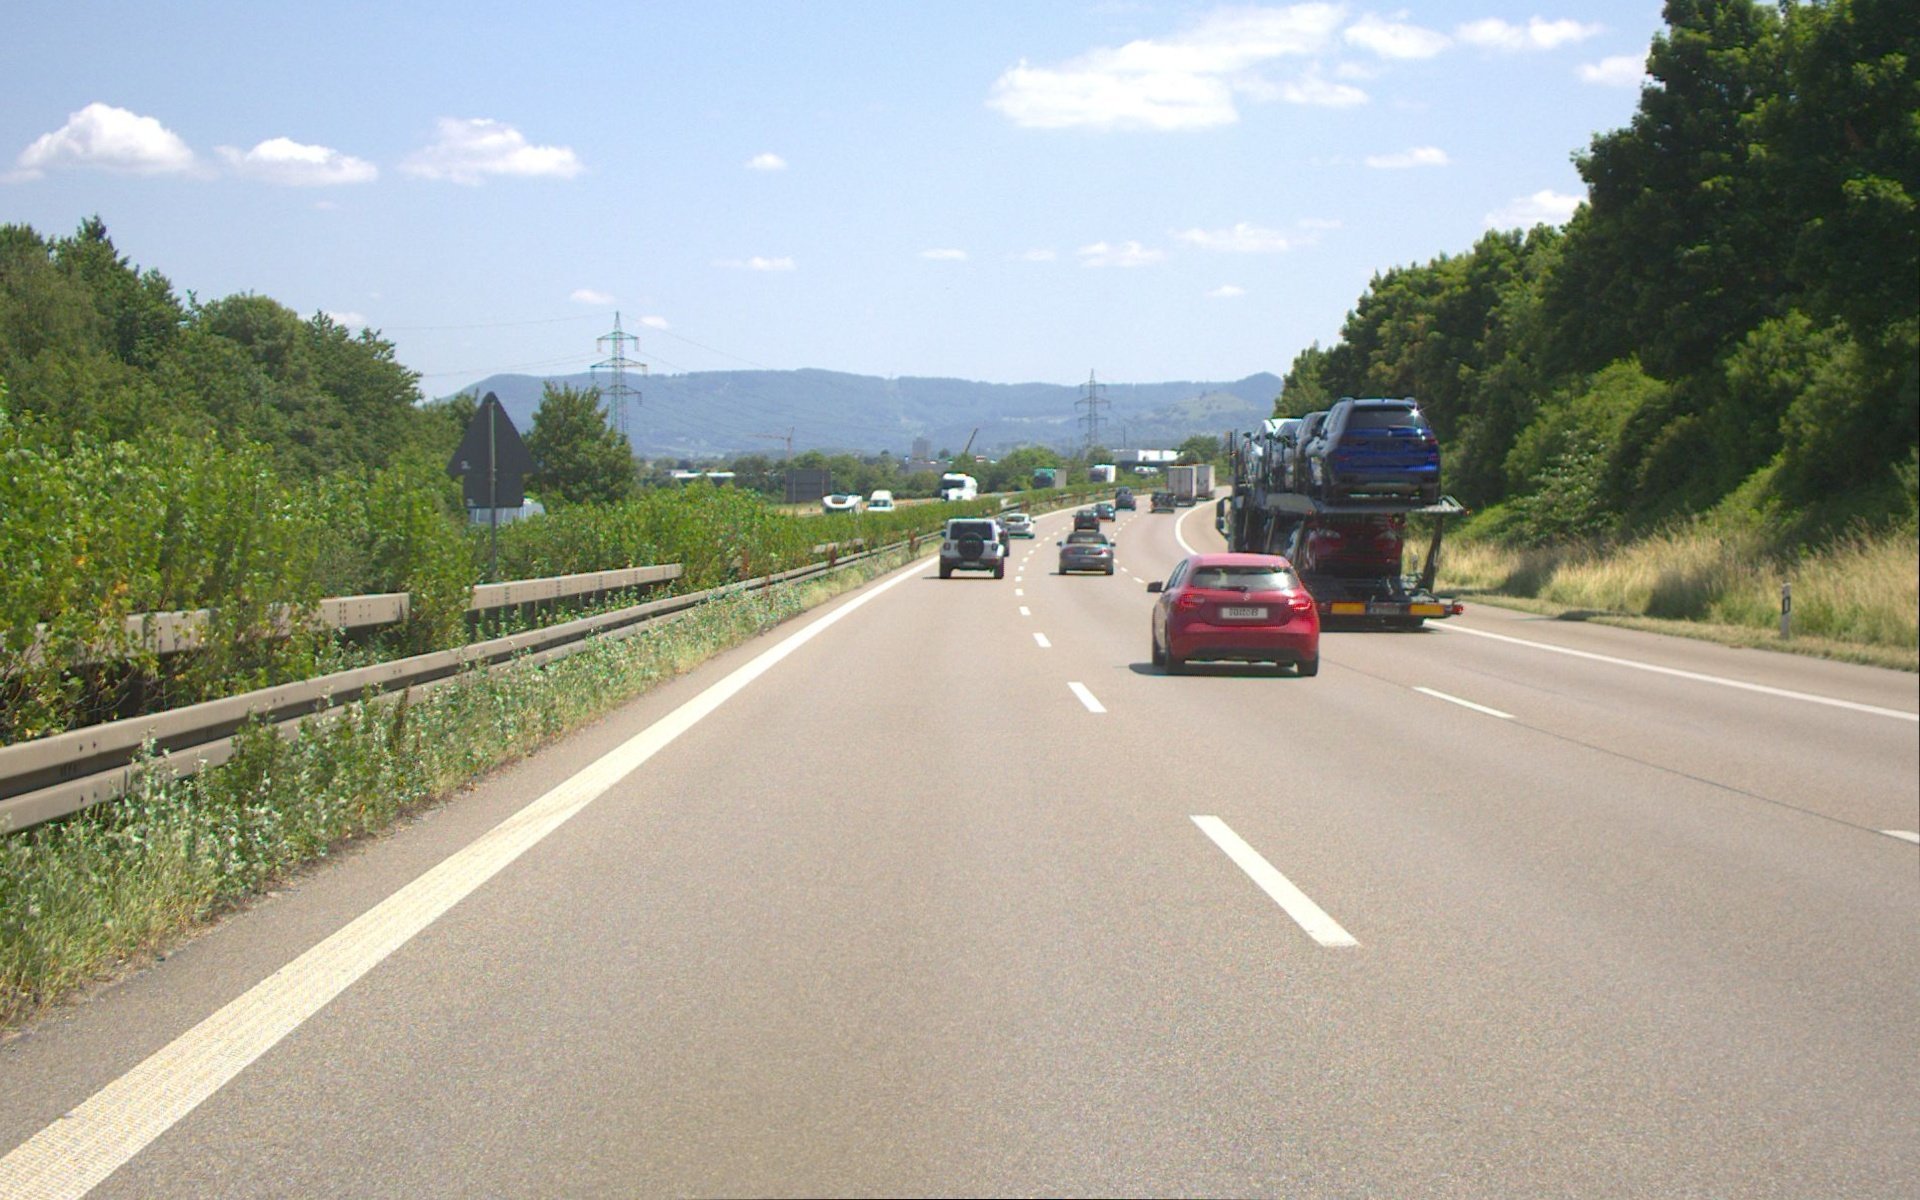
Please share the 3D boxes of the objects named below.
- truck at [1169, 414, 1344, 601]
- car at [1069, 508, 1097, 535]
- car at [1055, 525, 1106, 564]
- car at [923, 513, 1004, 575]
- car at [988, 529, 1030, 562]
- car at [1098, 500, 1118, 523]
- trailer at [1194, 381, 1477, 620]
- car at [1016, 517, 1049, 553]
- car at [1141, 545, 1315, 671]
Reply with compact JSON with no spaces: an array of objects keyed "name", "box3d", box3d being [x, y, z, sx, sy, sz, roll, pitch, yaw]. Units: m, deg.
[{"name":"truck","box3d":[6.355,-1.990,74.616,2.753,3.839,6.645,1,1,-3]},{"name":"car","box3d":[7.880,-5.036,219.777,1.636,1.699,3.401,1,1,4]},{"name":"car","box3d":[3.993,-1.845,113.992,1.452,1.263,3.539,1,1,-1]},{"name":"car","box3d":[0.086,-1.745,106.312,2.083,1.823,4.754,1,1,-5]},{"name":"car","box3d":[2.104,-2.321,146.722,1.574,1.359,3.447,1,1,4]},{"name":"car","box3d":[11.129,-6.634,258.182,1.397,1.699,3.001,1,1,4]},{"name":"trailer","box3d":[6.833,-1.846,65.493,2.855,3.979,15.399,1,1,-3]},{"name":"car","box3d":[4.146,-3.696,195.973,1.698,2.007,3.822,1,1,4]},{"name":"car","box3d":[3.168,0.059,41.207,1.686,1.374,3.949,1,1,-1]}]
